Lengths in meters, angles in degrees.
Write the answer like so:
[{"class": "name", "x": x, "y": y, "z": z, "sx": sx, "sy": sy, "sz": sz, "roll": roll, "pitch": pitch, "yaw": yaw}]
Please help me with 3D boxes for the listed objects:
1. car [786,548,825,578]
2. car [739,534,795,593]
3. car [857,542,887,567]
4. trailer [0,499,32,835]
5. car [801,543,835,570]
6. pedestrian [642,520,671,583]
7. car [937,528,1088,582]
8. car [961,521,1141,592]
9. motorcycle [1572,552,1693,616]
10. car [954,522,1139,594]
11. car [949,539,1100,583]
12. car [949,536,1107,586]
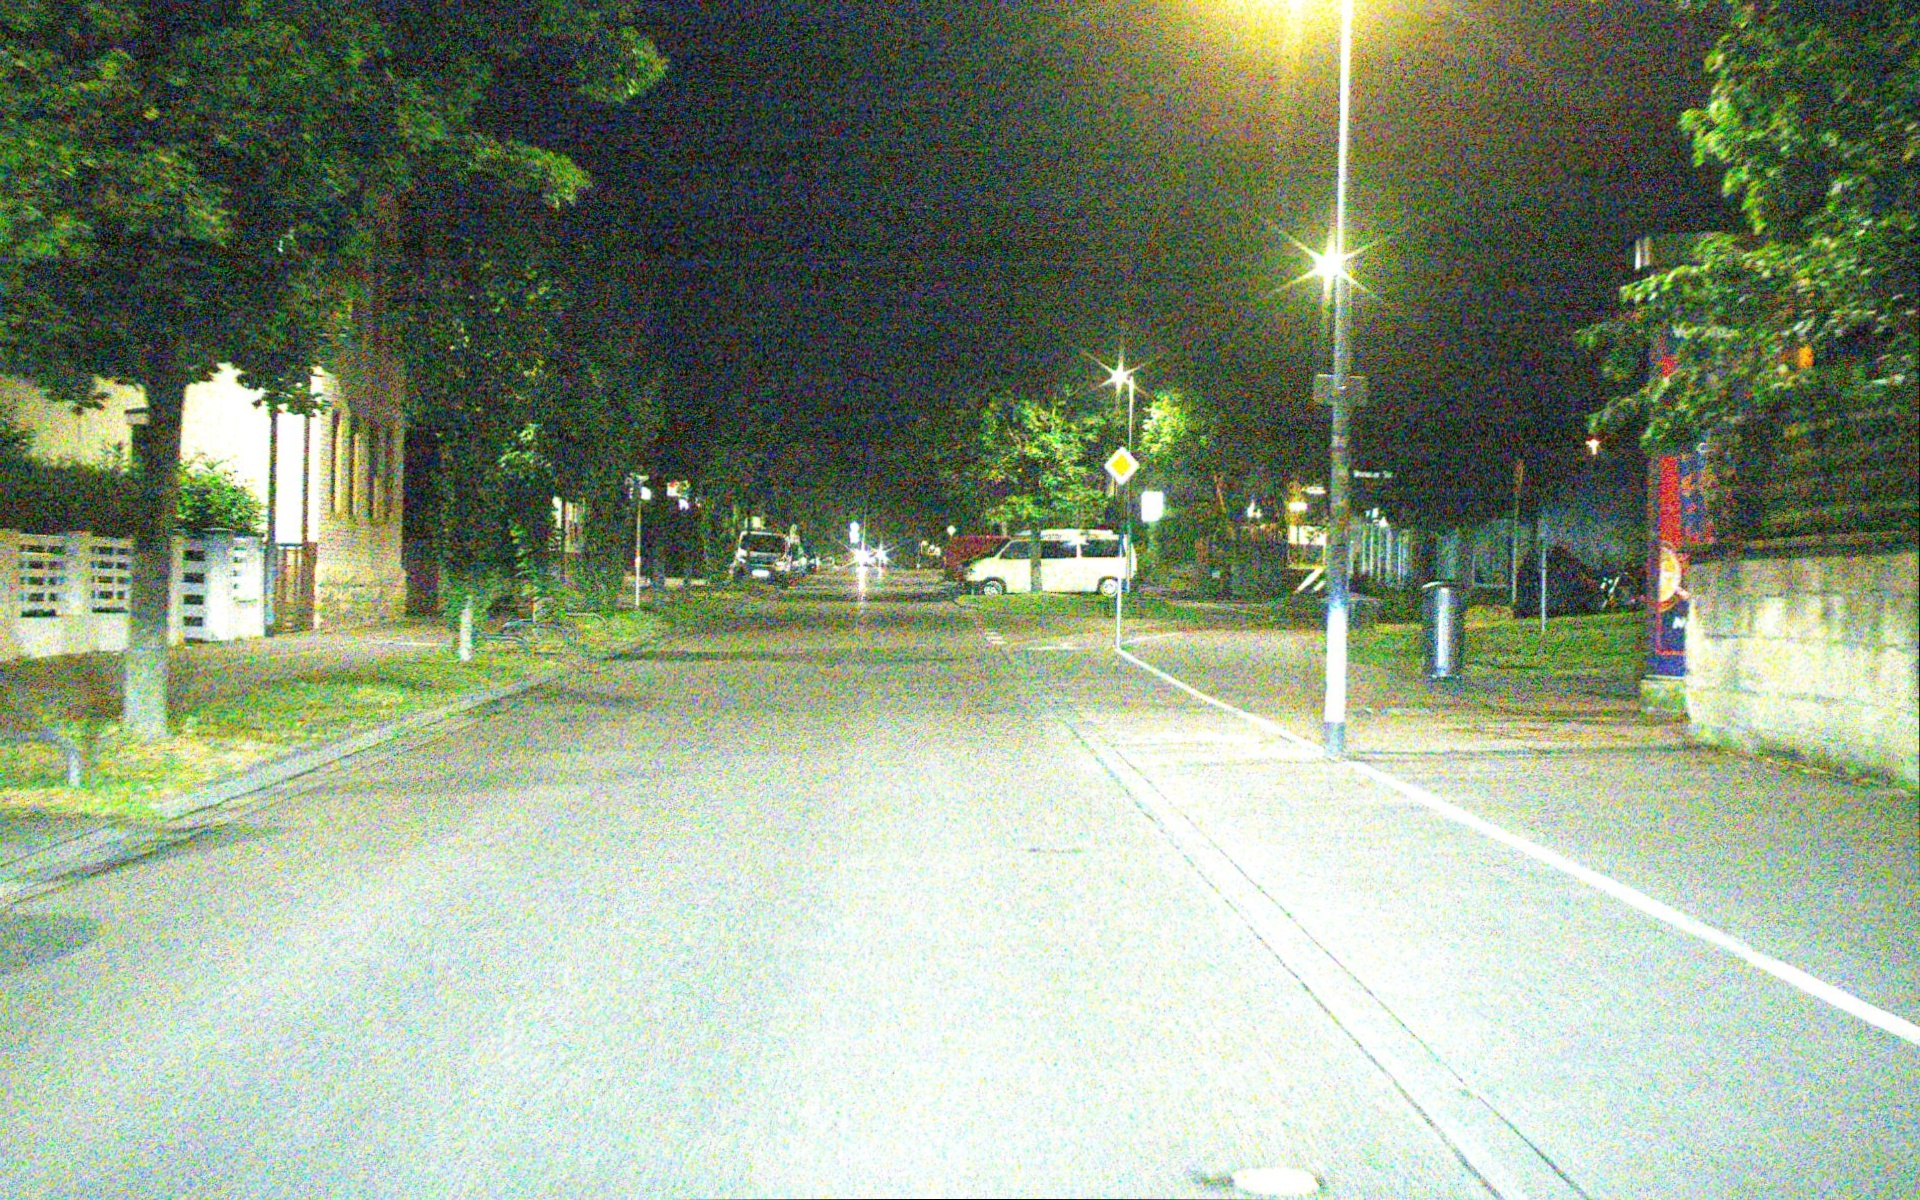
[{"class": "car", "x": -6.941, "y": -1.671, "z": 154.660, "sx": 1.683, "sy": 1.326, "sz": 3.600, "roll": 1, "pitch": 1, "yaw": -2}, {"class": "car", "x": -6.855, "y": -1.308, "z": 122.329, "sx": 1.824, "sy": 1.980, "sz": 4.466, "roll": 2, "pitch": 1, "yaw": -2}, {"class": "car", "x": -5.912, "y": -3.088, "z": 230.499, "sx": 1.927, "sy": 1.643, "sz": 3.822, "roll": 0, "pitch": 1, "yaw": -2}, {"class": "trailer", "x": -5.520, "y": 0.318, "z": 15.744, "sx": 1.448, "sy": 1.682, "sz": 3.426, "roll": 3, "pitch": 1, "yaw": 2}, {"class": "car", "x": -7.080, "y": -2.179, "z": 171.463, "sx": 1.683, "sy": 1.326, "sz": 3.600, "roll": 1, "pitch": 1, "yaw": -2}, {"class": "pedestrian", "x": -9.857, "y": -1.577, "z": 111.581, "sx": 0.785, "sy": 2.007, "sz": 1.204, "roll": 2, "pitch": 1, "yaw": -1}, {"class": "car", "x": 1.897, "y": -1.619, "z": 123.590, "sx": 5.184, "sy": 1.880, "sz": 2.101, "roll": -1, "pitch": 1, "yaw": 9}, {"class": "car", "x": 2.667, "y": -1.302, "z": 101.891, "sx": 5.182, "sy": 2.007, "sz": 2.102, "roll": -1, "pitch": 1, "yaw": -2}, {"class": "motorcycle", "x": 13.279, "y": -0.322, "z": 67.846, "sx": 2.258, "sy": 1.210, "sz": 0.711, "roll": -1, "pitch": 1, "yaw": -16}, {"class": "car", "x": 2.452, "y": -1.216, "z": 98.825, "sx": 5.182, "sy": 2.007, "sz": 2.102, "roll": -1, "pitch": 1, "yaw": -2}, {"class": "car", "x": 2.241, "y": -1.375, "z": 120.878, "sx": 5.182, "sy": 1.464, "sz": 2.102, "roll": -1, "pitch": 1, "yaw": -2}, {"class": "car", "x": 2.260, "y": -1.320, "z": 115.362, "sx": 5.182, "sy": 1.588, "sz": 2.102, "roll": -1, "pitch": 1, "yaw": -2}]
